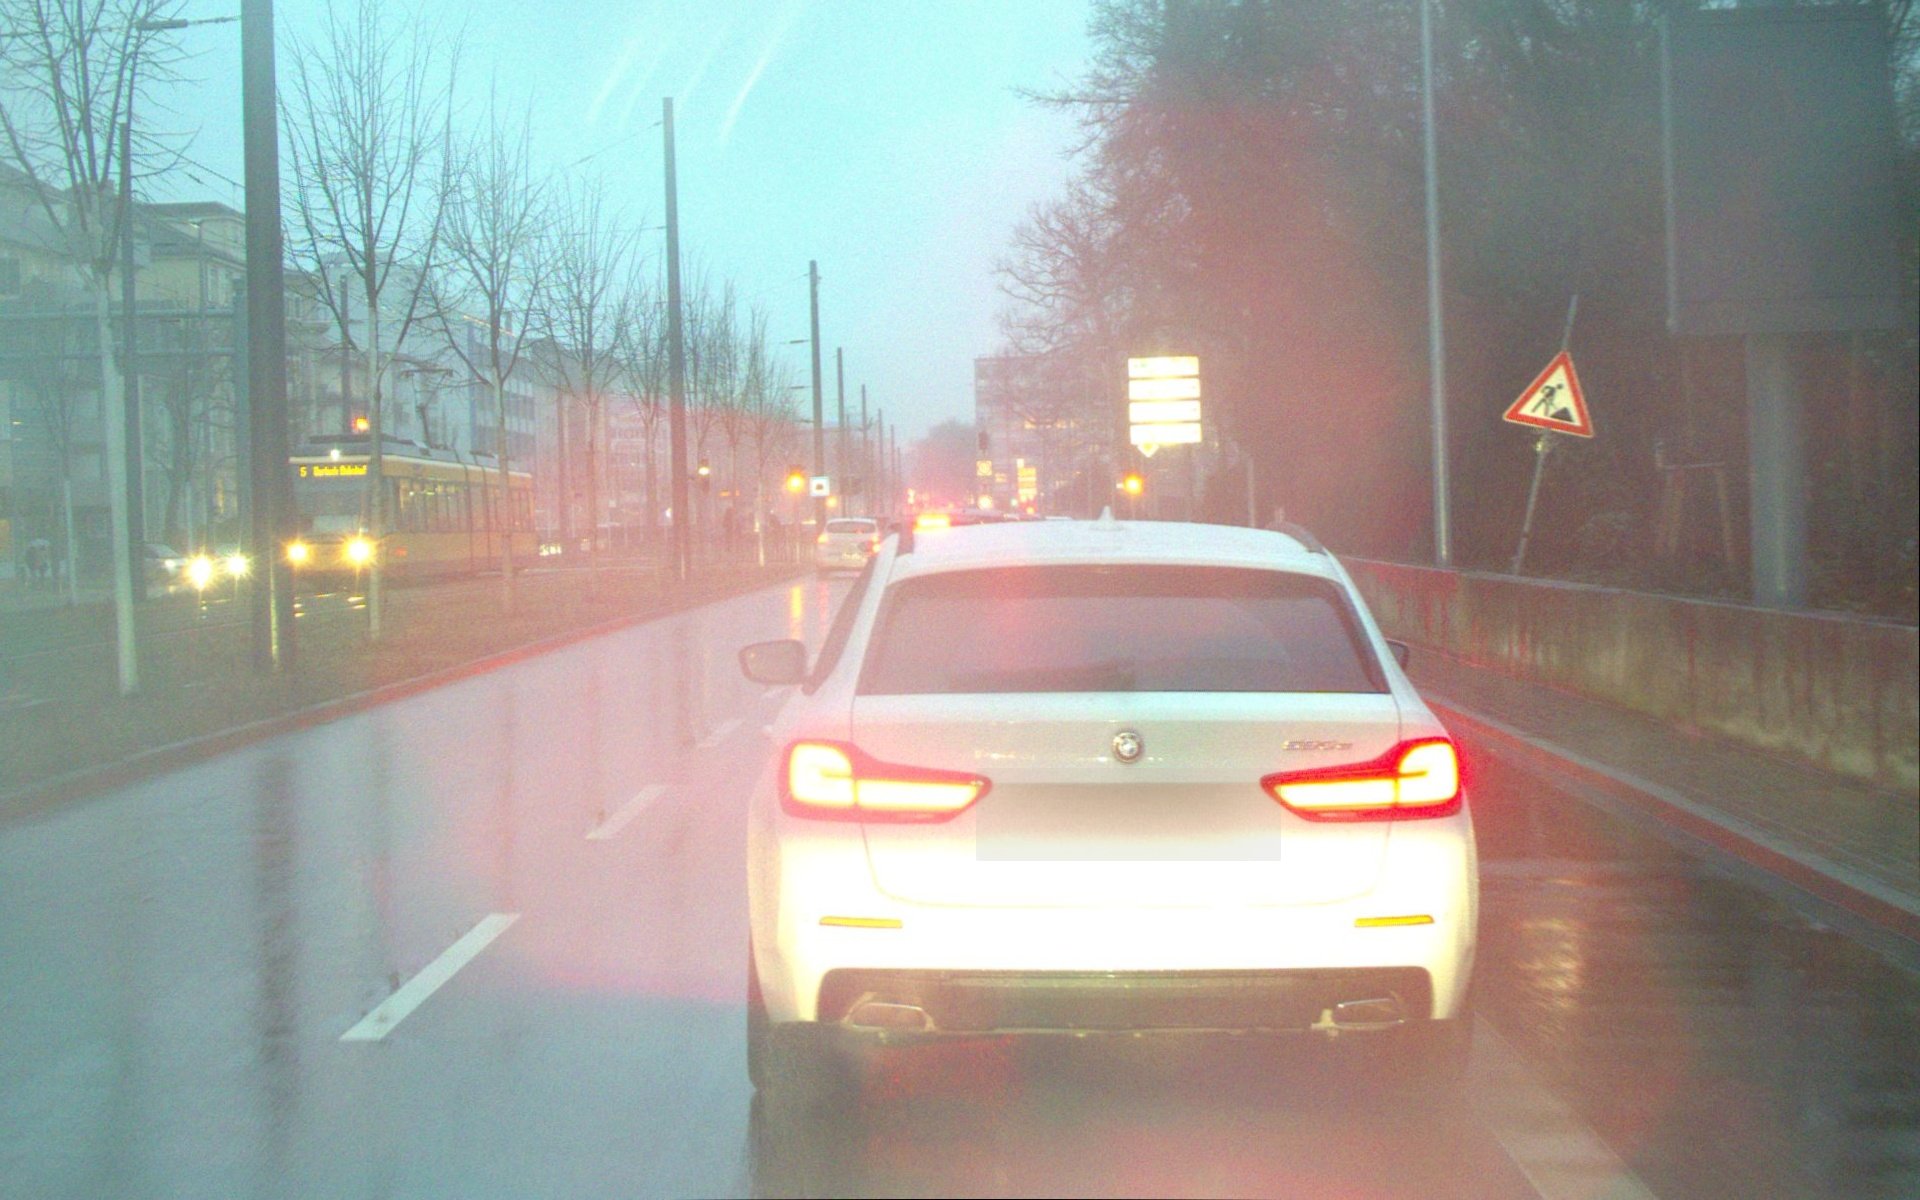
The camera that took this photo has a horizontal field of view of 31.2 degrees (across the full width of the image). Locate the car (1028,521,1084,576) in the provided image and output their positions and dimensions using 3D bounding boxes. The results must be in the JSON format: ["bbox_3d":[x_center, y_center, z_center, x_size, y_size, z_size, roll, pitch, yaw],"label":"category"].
[{"bbox_3d":[3.608,-1.952,129.445,1.993,2.007,4.000,0,1,0],"label":"car"}]

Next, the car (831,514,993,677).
[{"bbox_3d":[-0.597,-0.097,44.419,1.993,2.007,4.000,0,1,0],"label":"car"}]

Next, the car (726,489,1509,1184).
[{"bbox_3d":[0.231,0.481,9.834,1.759,1.547,4.252,0,1,-3],"label":"car"}]

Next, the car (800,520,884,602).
[{"bbox_3d":[-2.955,-1.006,87.000,1.993,2.007,4.000,0,1,0],"label":"car"}]

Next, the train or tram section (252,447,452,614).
[{"bbox_3d":[-13.842,-1.601,79.042,2.842,3.492,9.159,-2,1,0],"label":"train or tram section"}]
